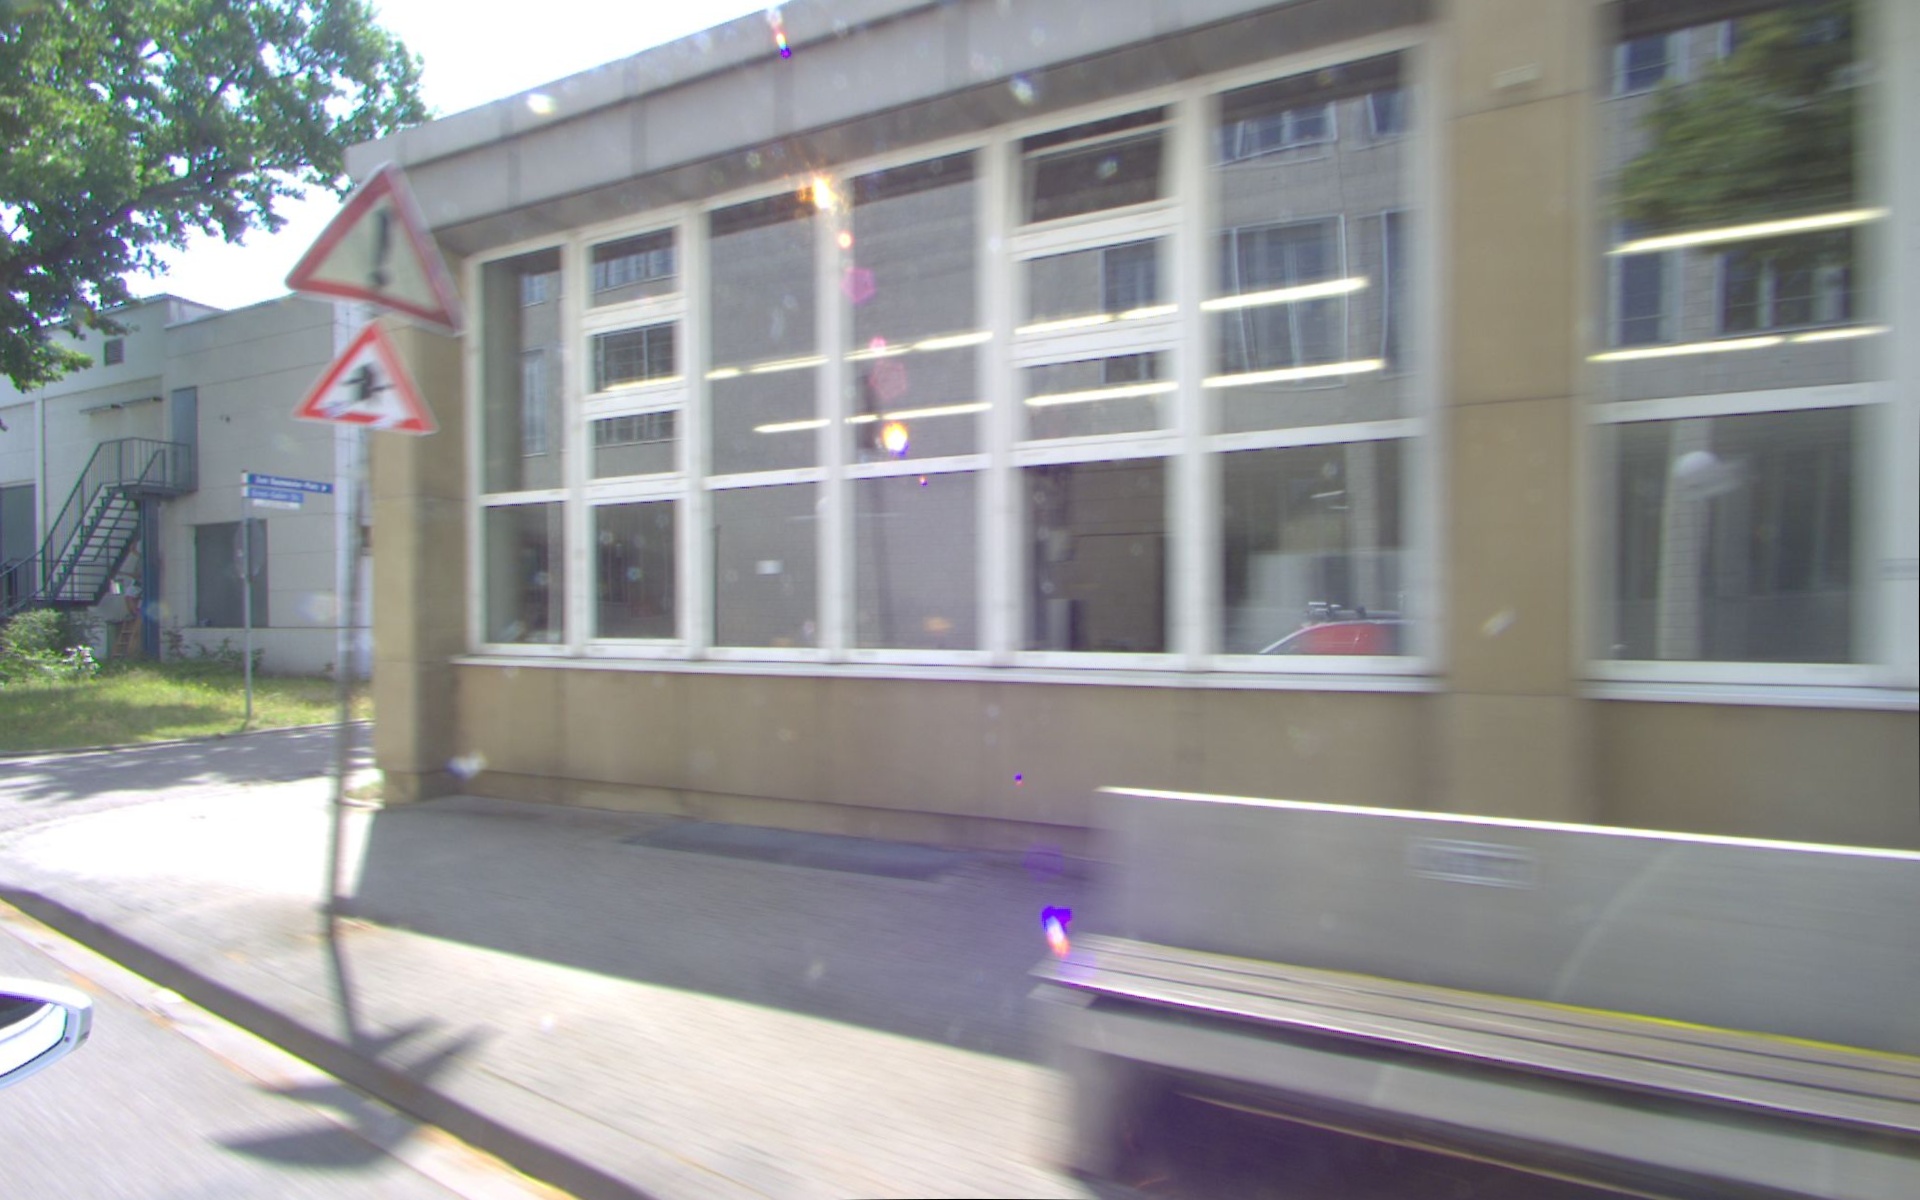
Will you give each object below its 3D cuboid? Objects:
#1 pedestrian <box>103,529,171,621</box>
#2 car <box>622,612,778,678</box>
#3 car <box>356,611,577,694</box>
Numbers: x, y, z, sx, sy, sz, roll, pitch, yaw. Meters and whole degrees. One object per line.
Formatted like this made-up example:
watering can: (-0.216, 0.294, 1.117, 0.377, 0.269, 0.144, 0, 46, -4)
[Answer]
pedestrian: (-18.884, -0.554, 22.976, 0.935, 2.040, 0.925, 0, 1, 30)
car: (-6.579, 1.090, 25.362, 3.563, 1.573, 1.626, 0, 0, 22)
car: (-9.763, 0.989, 19.796, 4.112, 1.496, 1.668, -1, 0, 23)
